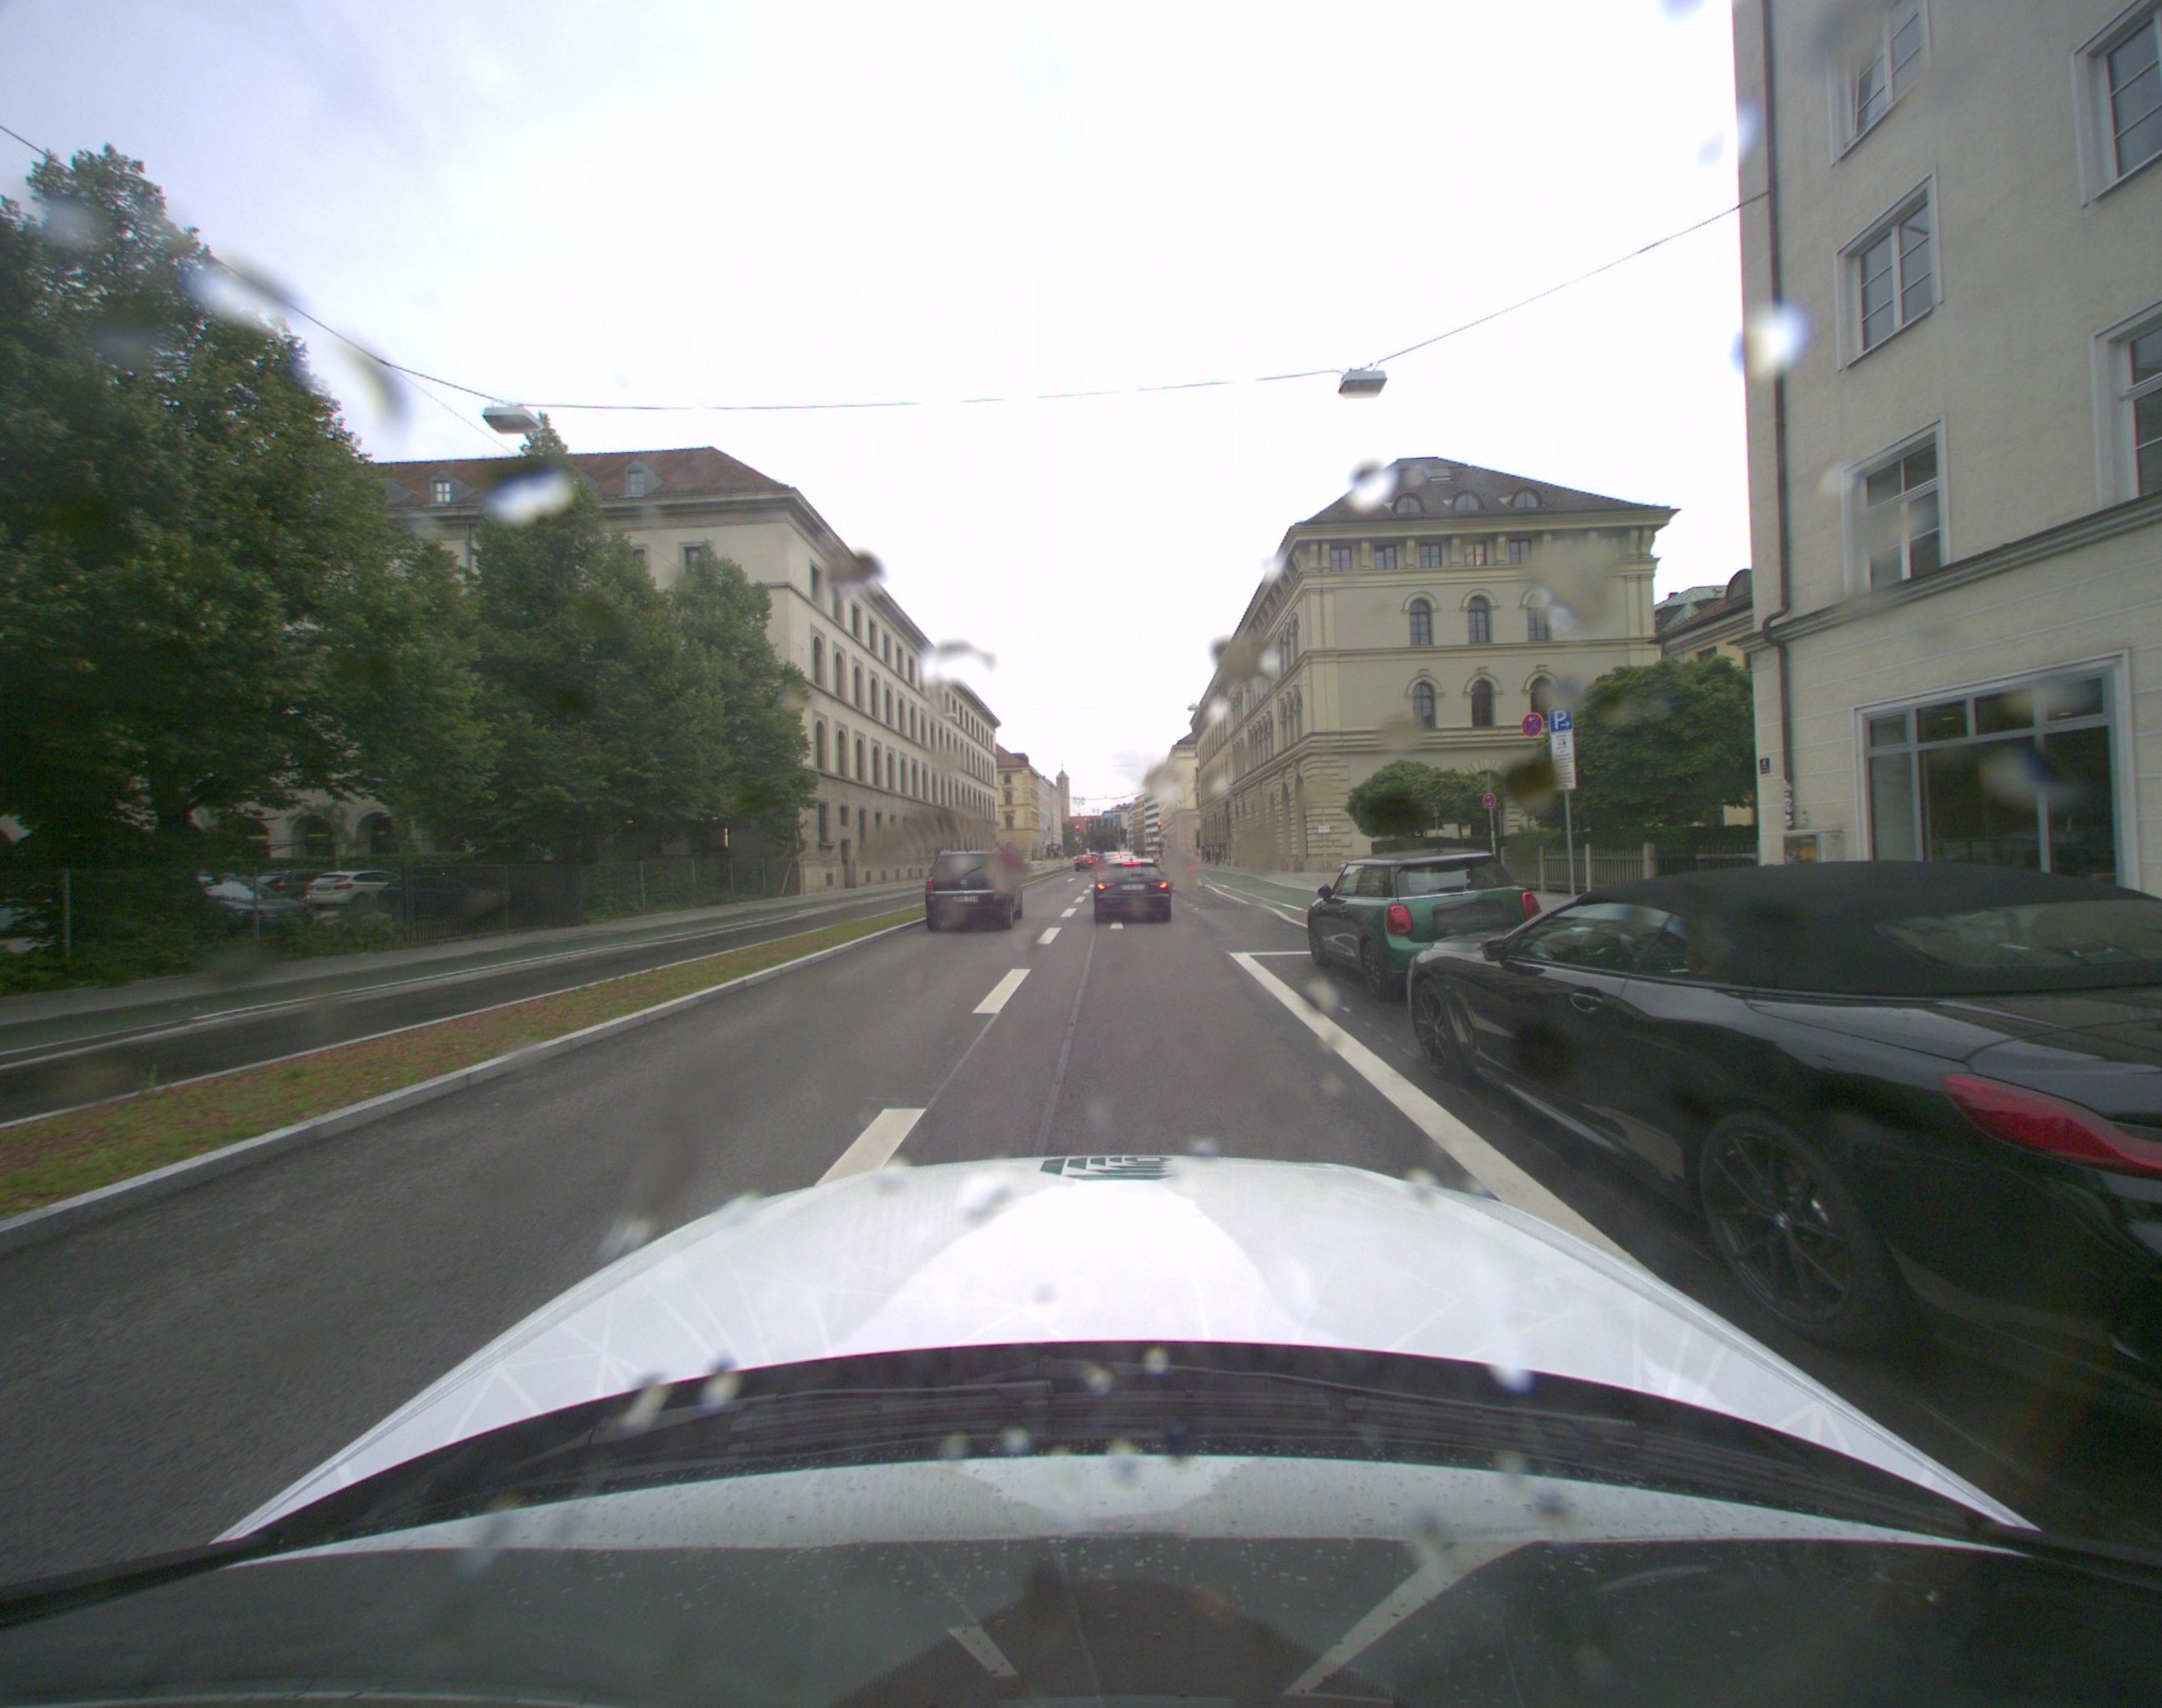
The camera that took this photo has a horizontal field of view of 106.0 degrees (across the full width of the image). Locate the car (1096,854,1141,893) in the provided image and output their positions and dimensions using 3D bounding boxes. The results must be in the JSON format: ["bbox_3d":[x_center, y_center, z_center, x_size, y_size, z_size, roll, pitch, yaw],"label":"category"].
[{"bbox_3d":[1.545,0.745,33.384,1.723,1.461,4.003,-1,0,3],"label":"car"}]

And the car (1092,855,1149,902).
[{"bbox_3d":[1.321,0.761,27.203,1.723,1.403,4.003,-1,0,3],"label":"car"}]

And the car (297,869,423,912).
[{"bbox_3d":[-30.599,1.500,34.717,1.658,1.640,4.003,-2,0,3],"label":"car"}]

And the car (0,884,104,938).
[{"bbox_3d":[-31.422,1.668,22.979,1.986,1.441,4.635,-2,0,2],"label":"car"}]

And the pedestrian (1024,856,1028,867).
[{"bbox_3d":[-9.359,1.309,138.473,0.653,1.805,0.728,-2,0,2],"label":"pedestrian"}]

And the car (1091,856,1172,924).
[{"bbox_3d":[1.176,0.771,19.371,1.723,1.403,4.003,-1,0,3],"label":"car"}]

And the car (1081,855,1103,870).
[{"bbox_3d":[1.116,0.860,82.968,1.985,1.444,4.003,-2,0,3],"label":"car"}]

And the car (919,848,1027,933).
[{"bbox_3d":[-2.219,0.710,17.737,1.759,1.616,4.030,-1,0,0],"label":"car"}]

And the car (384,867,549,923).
[{"bbox_3d":[-20.900,1.372,27.806,4.245,1.649,1.806,-2,0,2],"label":"car"}]

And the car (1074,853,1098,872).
[{"bbox_3d":[0.484,0.753,73.984,1.985,1.627,4.003,-2,0,3],"label":"car"}]

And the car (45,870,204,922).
[{"bbox_3d":[-40.698,1.741,34.807,1.836,1.928,4.007,-2,0,6],"label":"car"}]

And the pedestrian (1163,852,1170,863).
[{"bbox_3d":[11.900,0.486,113.450,0.747,1.618,0.714,-2,0,11],"label":"pedestrian"}]

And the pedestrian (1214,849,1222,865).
[{"bbox_3d":[13.732,0.296,81.743,0.707,1.618,0.755,-2,0,2],"label":"pedestrian"}]

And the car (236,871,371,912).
[{"bbox_3d":[-33.123,1.548,34.860,1.763,1.544,4.002,-2,0,2],"label":"car"}]

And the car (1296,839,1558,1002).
[{"bbox_3d":[3.747,0.627,9.563,1.668,1.521,3.833,-1,0,4],"label":"car"}]

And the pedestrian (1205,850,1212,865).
[{"bbox_3d":[14.248,0.377,91.081,0.707,1.618,0.755,-2,0,2],"label":"pedestrian"}]

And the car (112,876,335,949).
[{"bbox_3d":[-21.609,1.454,20.591,4.121,1.588,1.809,-2,0,9],"label":"car"}]

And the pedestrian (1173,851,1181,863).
[{"bbox_3d":[13.050,0.407,110.695,0.714,1.618,0.748,-2,0,-27],"label":"pedestrian"}]

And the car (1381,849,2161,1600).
[{"bbox_3d":[3.060,0.695,3.859,1.818,1.407,4.724,-1,0,4],"label":"car"}]
